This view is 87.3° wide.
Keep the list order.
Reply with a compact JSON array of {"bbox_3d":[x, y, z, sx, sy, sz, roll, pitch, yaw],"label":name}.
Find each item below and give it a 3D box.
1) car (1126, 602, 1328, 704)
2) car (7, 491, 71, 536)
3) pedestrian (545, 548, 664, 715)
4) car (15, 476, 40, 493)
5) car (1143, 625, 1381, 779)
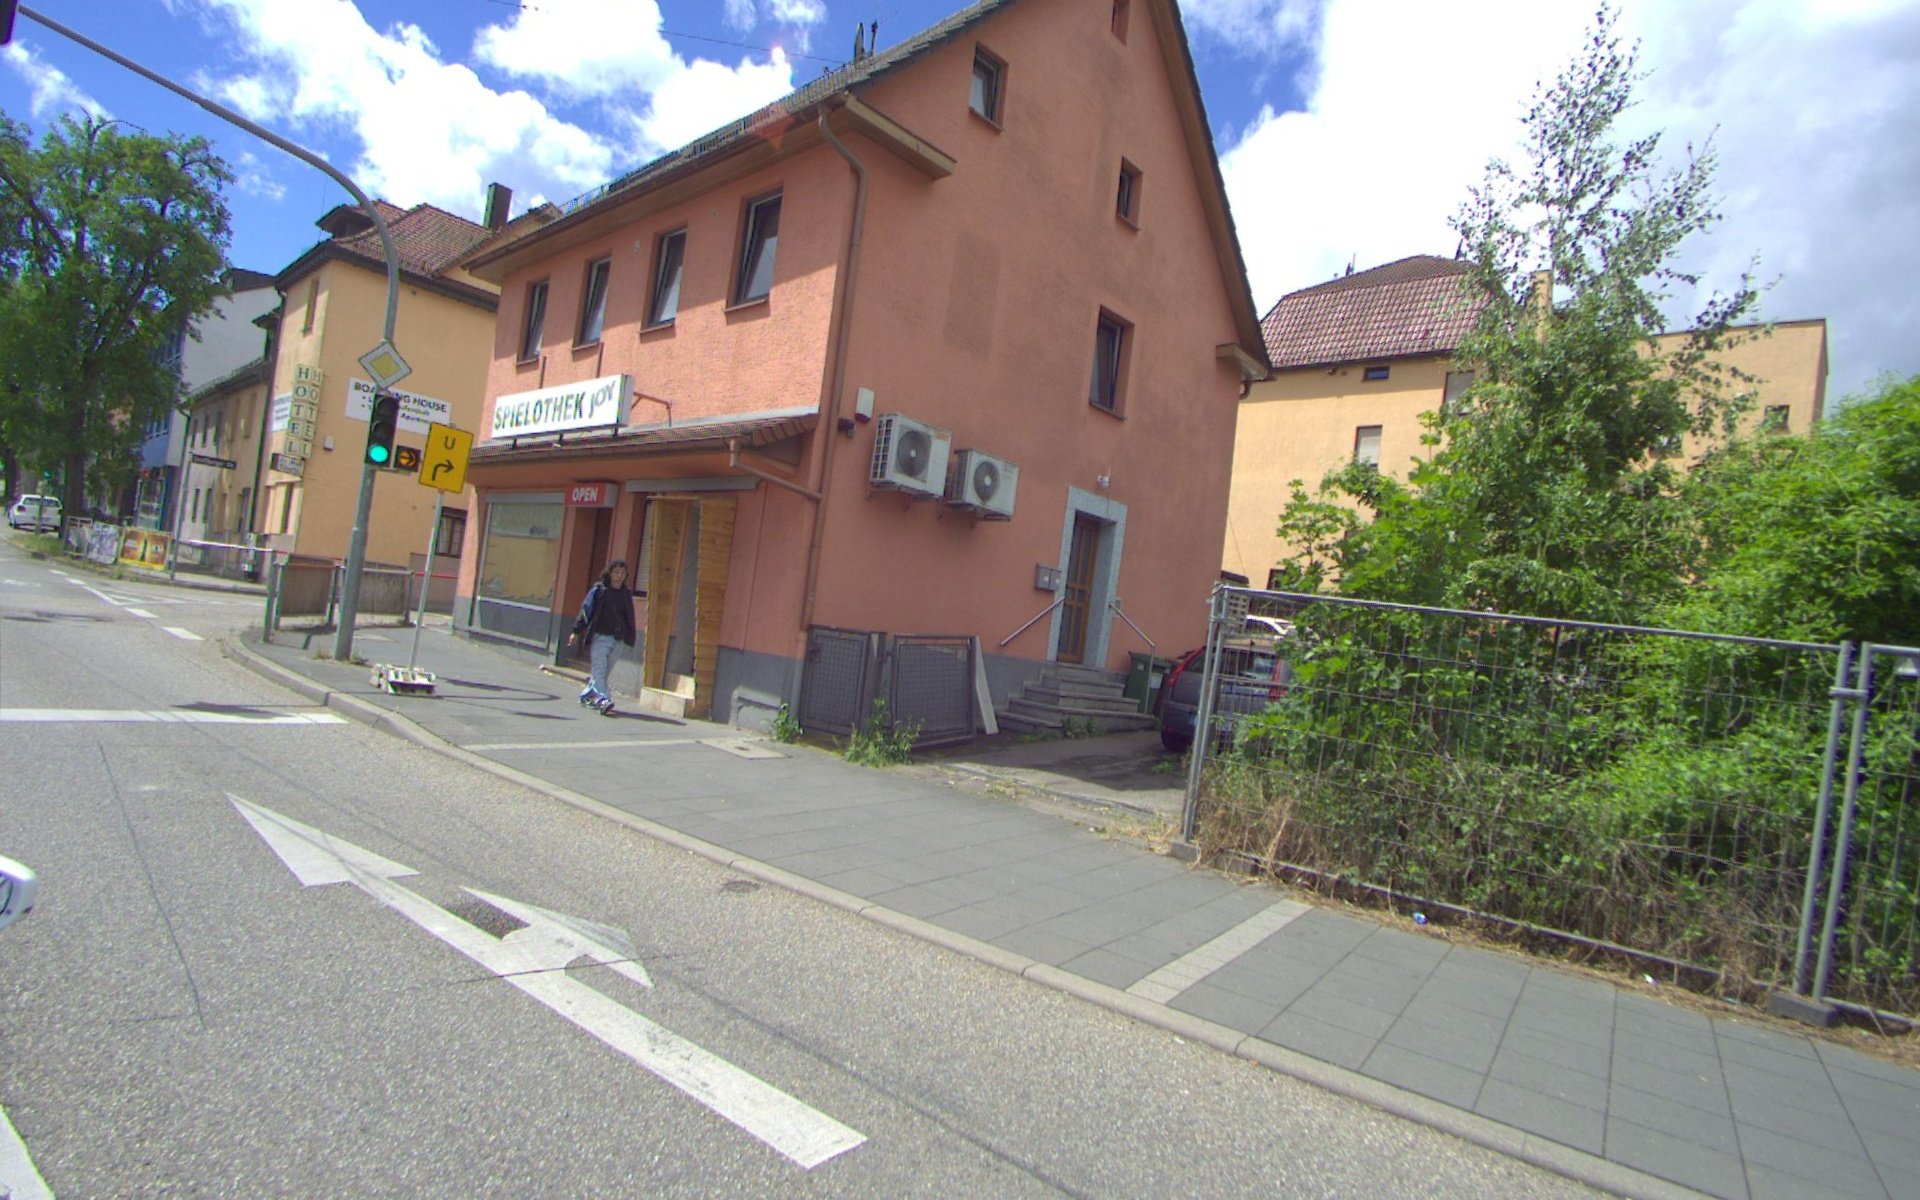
[{"bbox_3d":[6.210,1.212,23.650,3.947,1.804,1.990,7,-1,44],"label":"car"},{"bbox_3d":[-39.534,-3.696,43.155,1.782,1.615,3.950,7,-1,-45],"label":"car"},{"bbox_3d":[-3.817,0.340,10.786,0.767,1.663,0.762,9,1,43],"label":"pedestrian"},{"bbox_3d":[-104.384,-12.890,112.602,1.813,1.484,3.950,12,-4,-44],"label":"car"},{"bbox_3d":[3.794,1.192,12.484,1.627,1.516,2.796,7,2,43],"label":"car"}]
